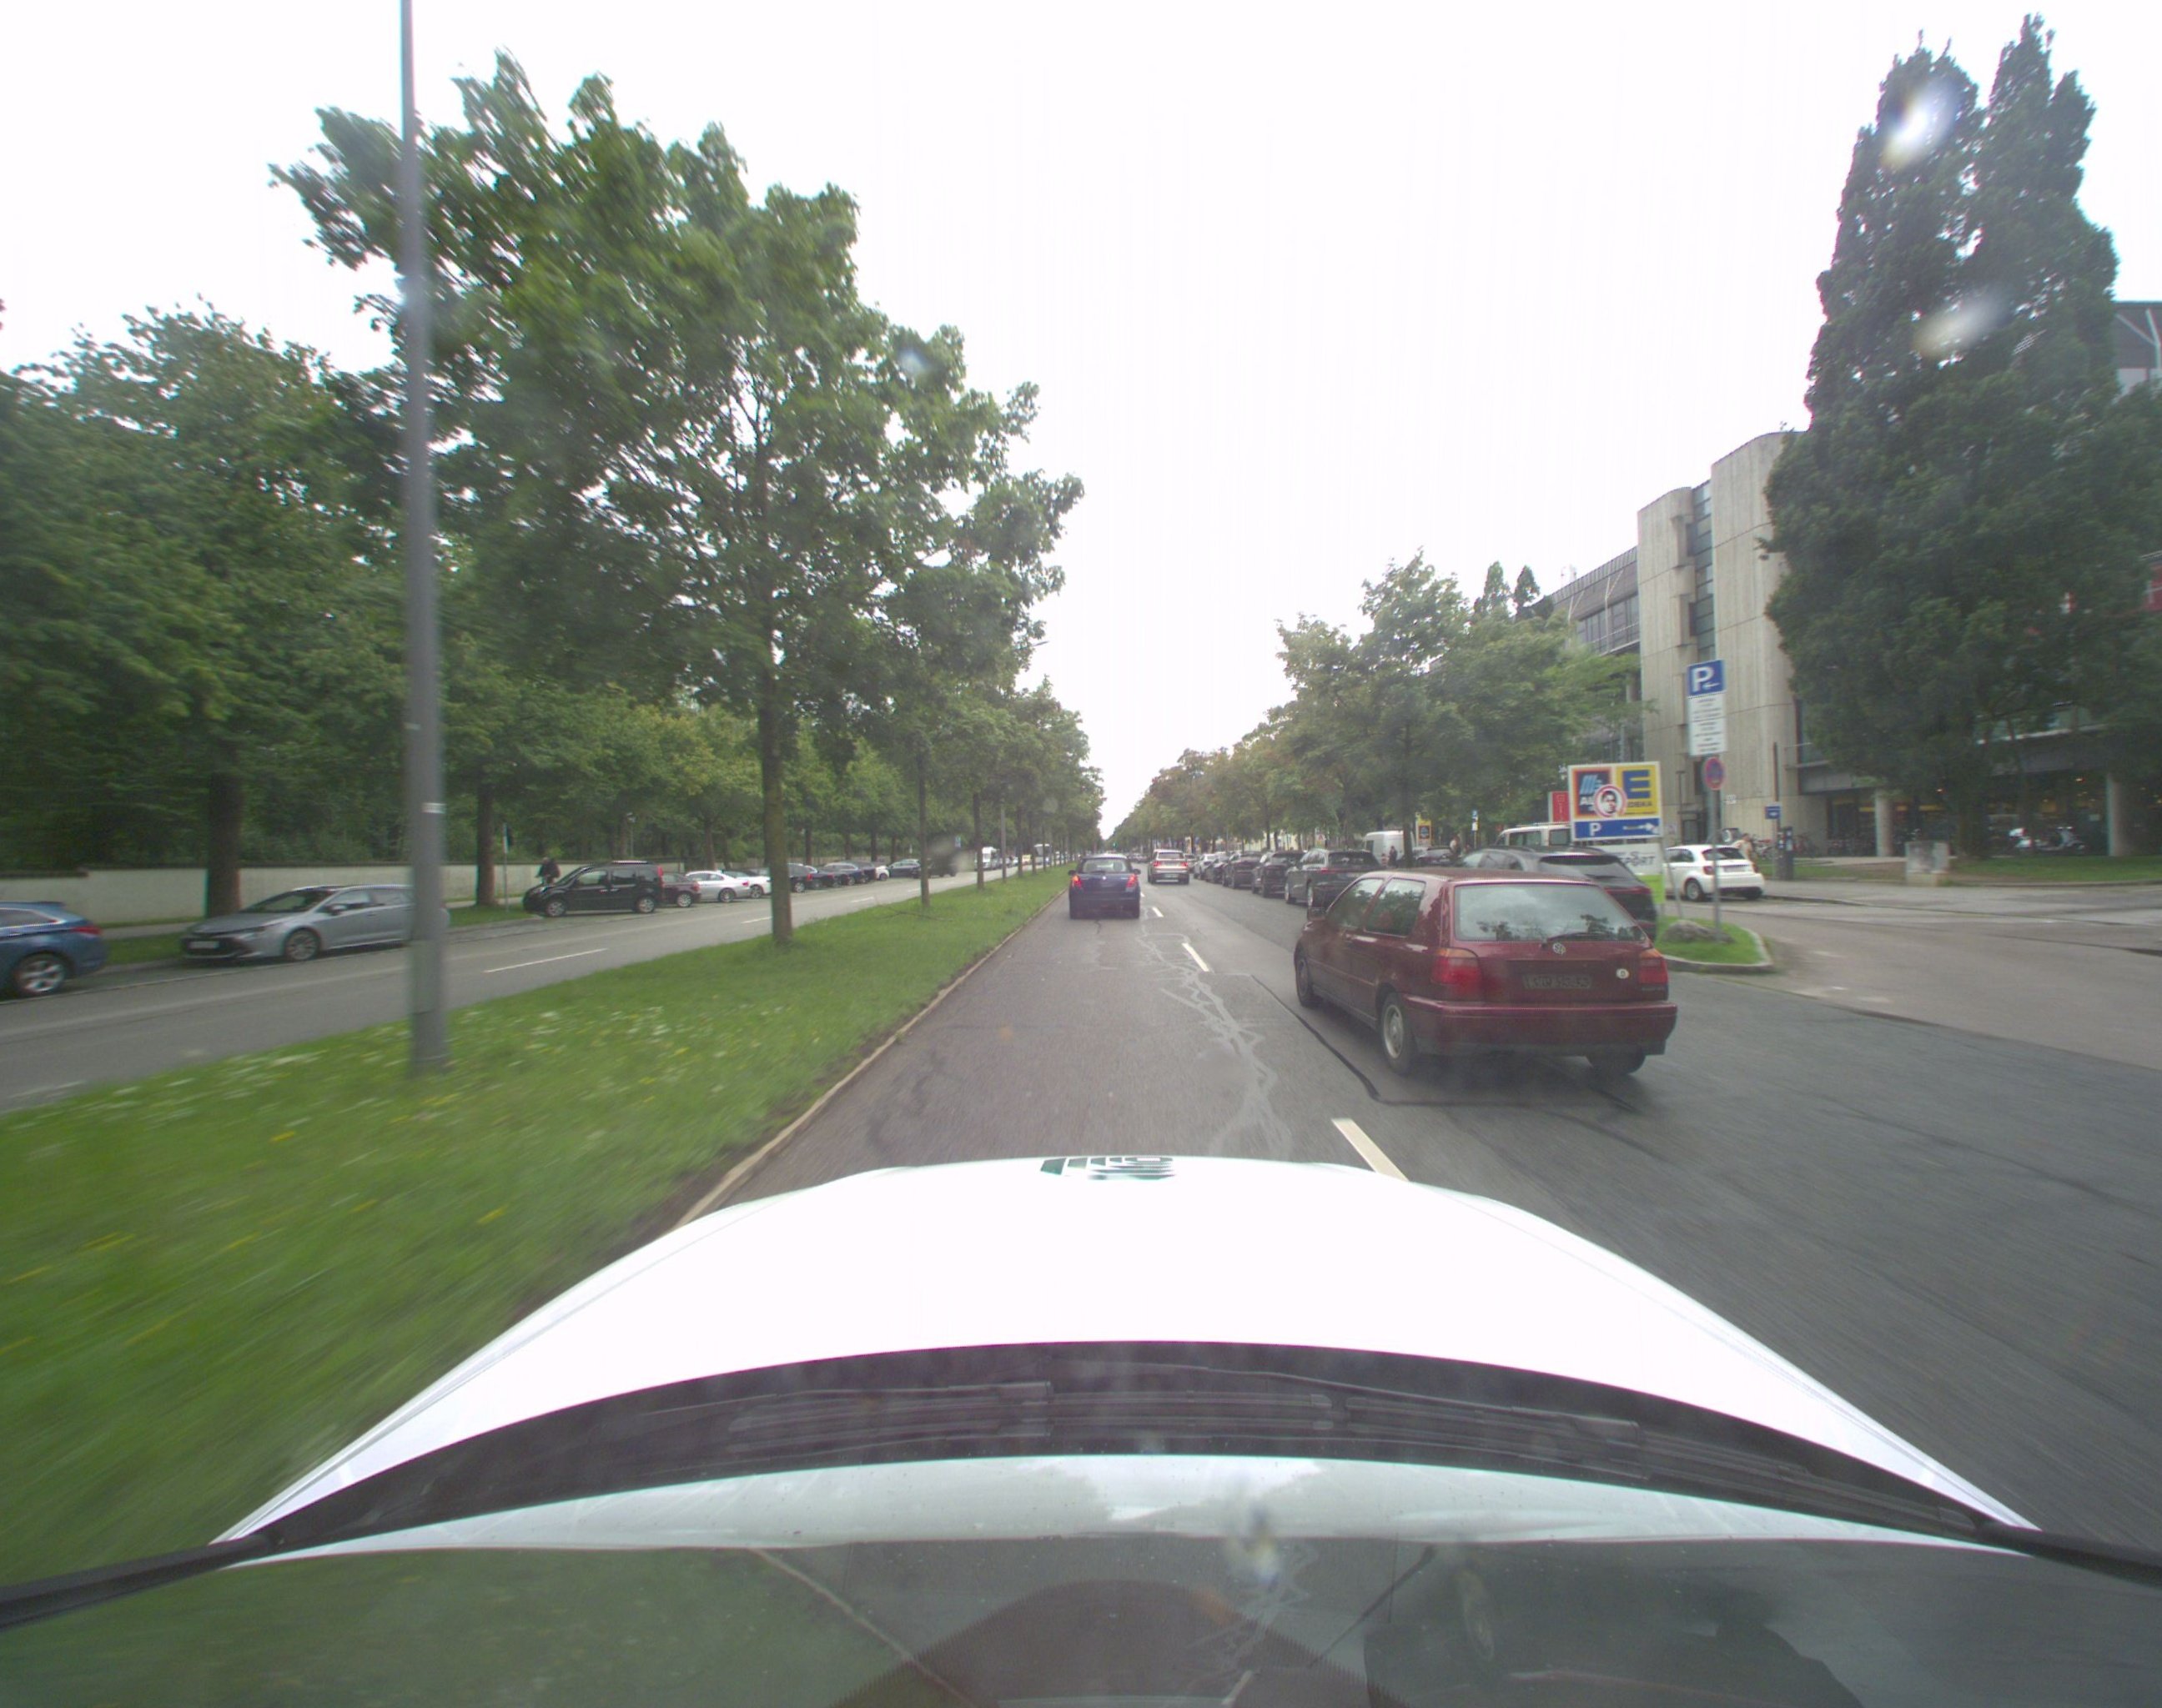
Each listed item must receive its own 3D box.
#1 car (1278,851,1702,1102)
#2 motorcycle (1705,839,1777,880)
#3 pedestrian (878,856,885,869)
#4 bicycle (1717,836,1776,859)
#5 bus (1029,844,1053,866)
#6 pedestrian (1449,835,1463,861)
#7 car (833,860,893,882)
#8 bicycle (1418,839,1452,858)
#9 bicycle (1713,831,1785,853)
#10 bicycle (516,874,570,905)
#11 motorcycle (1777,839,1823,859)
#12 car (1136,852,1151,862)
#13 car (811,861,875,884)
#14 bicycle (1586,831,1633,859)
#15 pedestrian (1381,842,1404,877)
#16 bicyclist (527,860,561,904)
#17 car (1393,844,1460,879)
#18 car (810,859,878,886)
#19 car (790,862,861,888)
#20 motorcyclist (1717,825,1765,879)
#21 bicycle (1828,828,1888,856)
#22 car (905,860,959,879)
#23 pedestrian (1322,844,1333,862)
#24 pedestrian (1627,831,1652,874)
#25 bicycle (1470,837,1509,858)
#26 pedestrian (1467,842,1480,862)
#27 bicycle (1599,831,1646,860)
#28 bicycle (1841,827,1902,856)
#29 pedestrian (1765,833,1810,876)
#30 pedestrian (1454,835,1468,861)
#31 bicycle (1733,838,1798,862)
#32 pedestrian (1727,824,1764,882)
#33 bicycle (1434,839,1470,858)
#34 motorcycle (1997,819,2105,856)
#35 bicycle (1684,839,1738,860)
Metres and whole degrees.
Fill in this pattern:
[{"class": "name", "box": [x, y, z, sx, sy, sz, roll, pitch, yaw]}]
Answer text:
[{"class": "car", "box": [2.901, 0.726, 6.807, 1.616, 1.454, 3.951, -1, 0, 1]}, {"class": "motorcycle", "box": [22.525, 0.171, 27.847, 0.693, 1.290, 2.067, -6, 0, 2]}, {"class": "pedestrian", "box": [-24.290, 1.052, 99.289, 0.682, 1.612, 0.685, -1, 0, -29]}, {"class": "bicycle", "box": [30.057, -0.289, 36.792, 2.021, 0.958, 0.751, -2, 0, 39]}, {"class": "bus", "box": [-6.458, 0.111, 134.069, 2.727, 3.377, 12.020, -3, 0, 3]}, {"class": "pedestrian", "box": [26.435, -0.419, 57.409, 0.557, 1.830, 0.679, -2, 0, -9]}, {"class": "car", "box": [-16.833, 1.302, 62.810, 4.119, 1.501, 1.901, -2, 0, -29]}, {"class": "bicycle", "box": [30.949, -0.477, 71.224, 2.605, 1.508, 0.797, -2, 0, -5]}, {"class": "bicycle", "box": [29.310, -0.522, 35.778, 0.776, 0.870, 2.373, -1, 0, -44]}, {"class": "bicycle", "box": [-21.871, 1.411, 33.181, 0.710, 1.161, 2.117, -2, 0, 2]}, {"class": "motorcycle", "box": [32.681, -0.244, 37.045, 0.847, 0.865, 1.572, -2, 0, 9]}, {"class": "car", "box": [9.456, 0.462, 123.129, 1.846, 1.447, 4.094, -1, 0, -2]}, {"class": "car", "box": [-17.386, 1.356, 59.502, 4.119, 1.501, 1.901, -2, 0, -29]}, {"class": "bicycle", "box": [30.158, -0.517, 46.484, 2.618, 1.508, 0.793, -2, 0, -20]}, {"class": "pedestrian", "box": [16.965, 0.302, 44.352, 0.872, 1.851, 0.903, 0, 0, 0]}, {"class": "bicyclist", "box": [-21.877, 1.119, 33.186, 0.702, 1.747, 0.923, -2, 0, 2]}, {"class": "car", "box": [17.559, 0.375, 41.567, 1.742, 1.664, 4.009, -1, 0, 0]}, {"class": "car", "box": [-16.347, 1.281, 56.175, 4.122, 1.679, 1.900, -2, 0, -32]}, {"class": "car", "box": [-16.754, 1.355, 53.415, 4.122, 1.469, 1.900, -2, 0, -32]}, {"class": "motorcyclist", "box": [22.491, -0.060, 27.769, 0.688, 1.737, 0.954, -6, 0, 2]}, {"class": "bicycle", "box": [34.885, -0.542, 36.553, 2.130, 1.204, 0.586, -1, 0, -1]}, {"class": "car", "box": [-12.965, 1.345, 70.938, 1.895, 1.542, 4.212, -2, 0, 45]}, {"class": "pedestrian", "box": [23.591, -0.090, 77.972, 0.745, 1.706, 0.702, -2, 0, 2]}, {"class": "pedestrian", "box": [23.371, -0.061, 34.083, 0.572, 1.751, 0.733, -1, 0, 6]}, {"class": "bicycle", "box": [31.257, -0.513, 62.367, 2.605, 1.508, 0.797, -2, 0, -5]}, {"class": "pedestrian", "box": [27.343, -0.135, 56.786, 0.557, 1.313, 0.549, -2, 0, -9]}, {"class": "bicycle", "box": [30.270, -0.473, 45.535, 2.618, 1.508, 0.793, -2, 0, -20]}, {"class": "bicycle", "box": [34.889, -0.541, 35.938, 2.130, 1.204, 0.586, -1, 0, -1]}, {"class": "pedestrian", "box": [22.599, 0.020, 26.067, 0.728, 1.290, 0.699, -4, -1, 6]}, {"class": "pedestrian", "box": [26.988, -0.436, 57.823, 0.676, 1.830, 0.541, -2, 0, -10]}, {"class": "bicycle", "box": [28.956, -0.182, 34.486, 0.751, 0.958, 2.022, -1, 0, -44]}, {"class": "pedestrian", "box": [20.807, -0.030, 25.508, 0.572, 1.751, 0.733, -1, 0, 6]}, {"class": "bicycle", "box": [30.613, -0.457, 67.215, 2.605, 1.508, 0.797, -2, 0, -5]}, {"class": "motorcycle", "box": [34.717, -0.581, 29.207, 0.867, 1.229, 2.374, -3, 0, -5]}, {"class": "bicycle", "box": [30.428, -0.217, 39.351, 2.034, 0.958, 0.746, -2, 0, 0]}]
